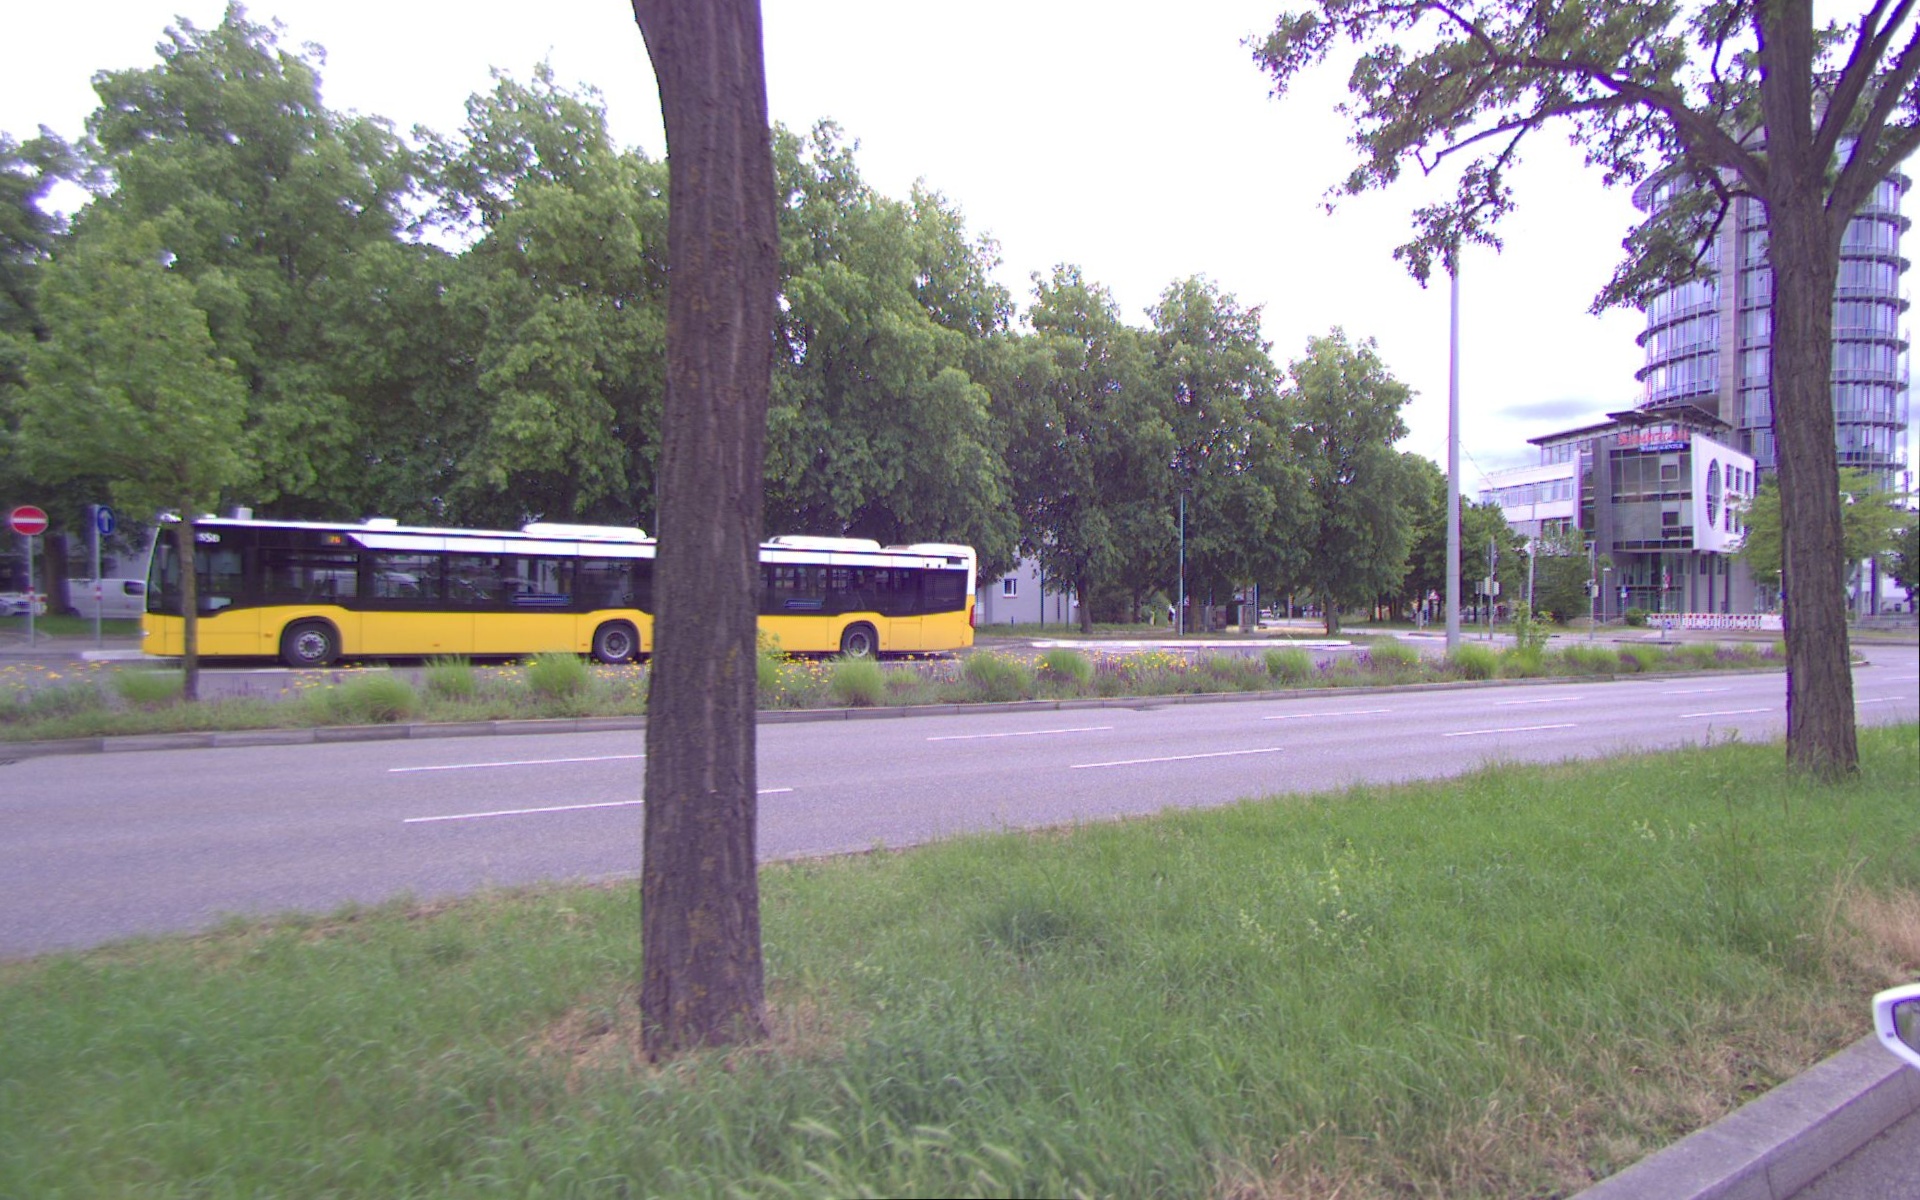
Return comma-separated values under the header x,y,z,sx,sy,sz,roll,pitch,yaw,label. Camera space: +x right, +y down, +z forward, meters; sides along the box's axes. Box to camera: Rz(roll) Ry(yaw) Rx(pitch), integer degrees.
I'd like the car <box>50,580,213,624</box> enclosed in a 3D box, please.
x,y,z,sx,sy,sz,roll,pitch,yaw,label
-34.728,0.082,42.267,4.837,1.746,1.993,1,0,-17,car

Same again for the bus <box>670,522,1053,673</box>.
x,y,z,sx,sy,sz,roll,pitch,yaw,label
-2.468,-0.050,26.917,9.784,3.502,3.019,1,2,-27,bus

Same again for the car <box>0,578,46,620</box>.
x,y,z,sx,sy,sz,roll,pitch,yaw,label
-40.135,-0.065,40.782,3.936,1.706,1.993,1,0,-17,car

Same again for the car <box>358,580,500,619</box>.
x,y,z,sx,sy,sz,roll,pitch,yaw,label
-23.716,-0.022,45.069,5.312,1.670,1.994,0,0,-16,car

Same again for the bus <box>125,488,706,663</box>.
x,y,z,sx,sy,sz,roll,pitch,yaw,label
-11.311,-0.394,22.274,10.602,3.205,3.071,1,0,-28,bus
